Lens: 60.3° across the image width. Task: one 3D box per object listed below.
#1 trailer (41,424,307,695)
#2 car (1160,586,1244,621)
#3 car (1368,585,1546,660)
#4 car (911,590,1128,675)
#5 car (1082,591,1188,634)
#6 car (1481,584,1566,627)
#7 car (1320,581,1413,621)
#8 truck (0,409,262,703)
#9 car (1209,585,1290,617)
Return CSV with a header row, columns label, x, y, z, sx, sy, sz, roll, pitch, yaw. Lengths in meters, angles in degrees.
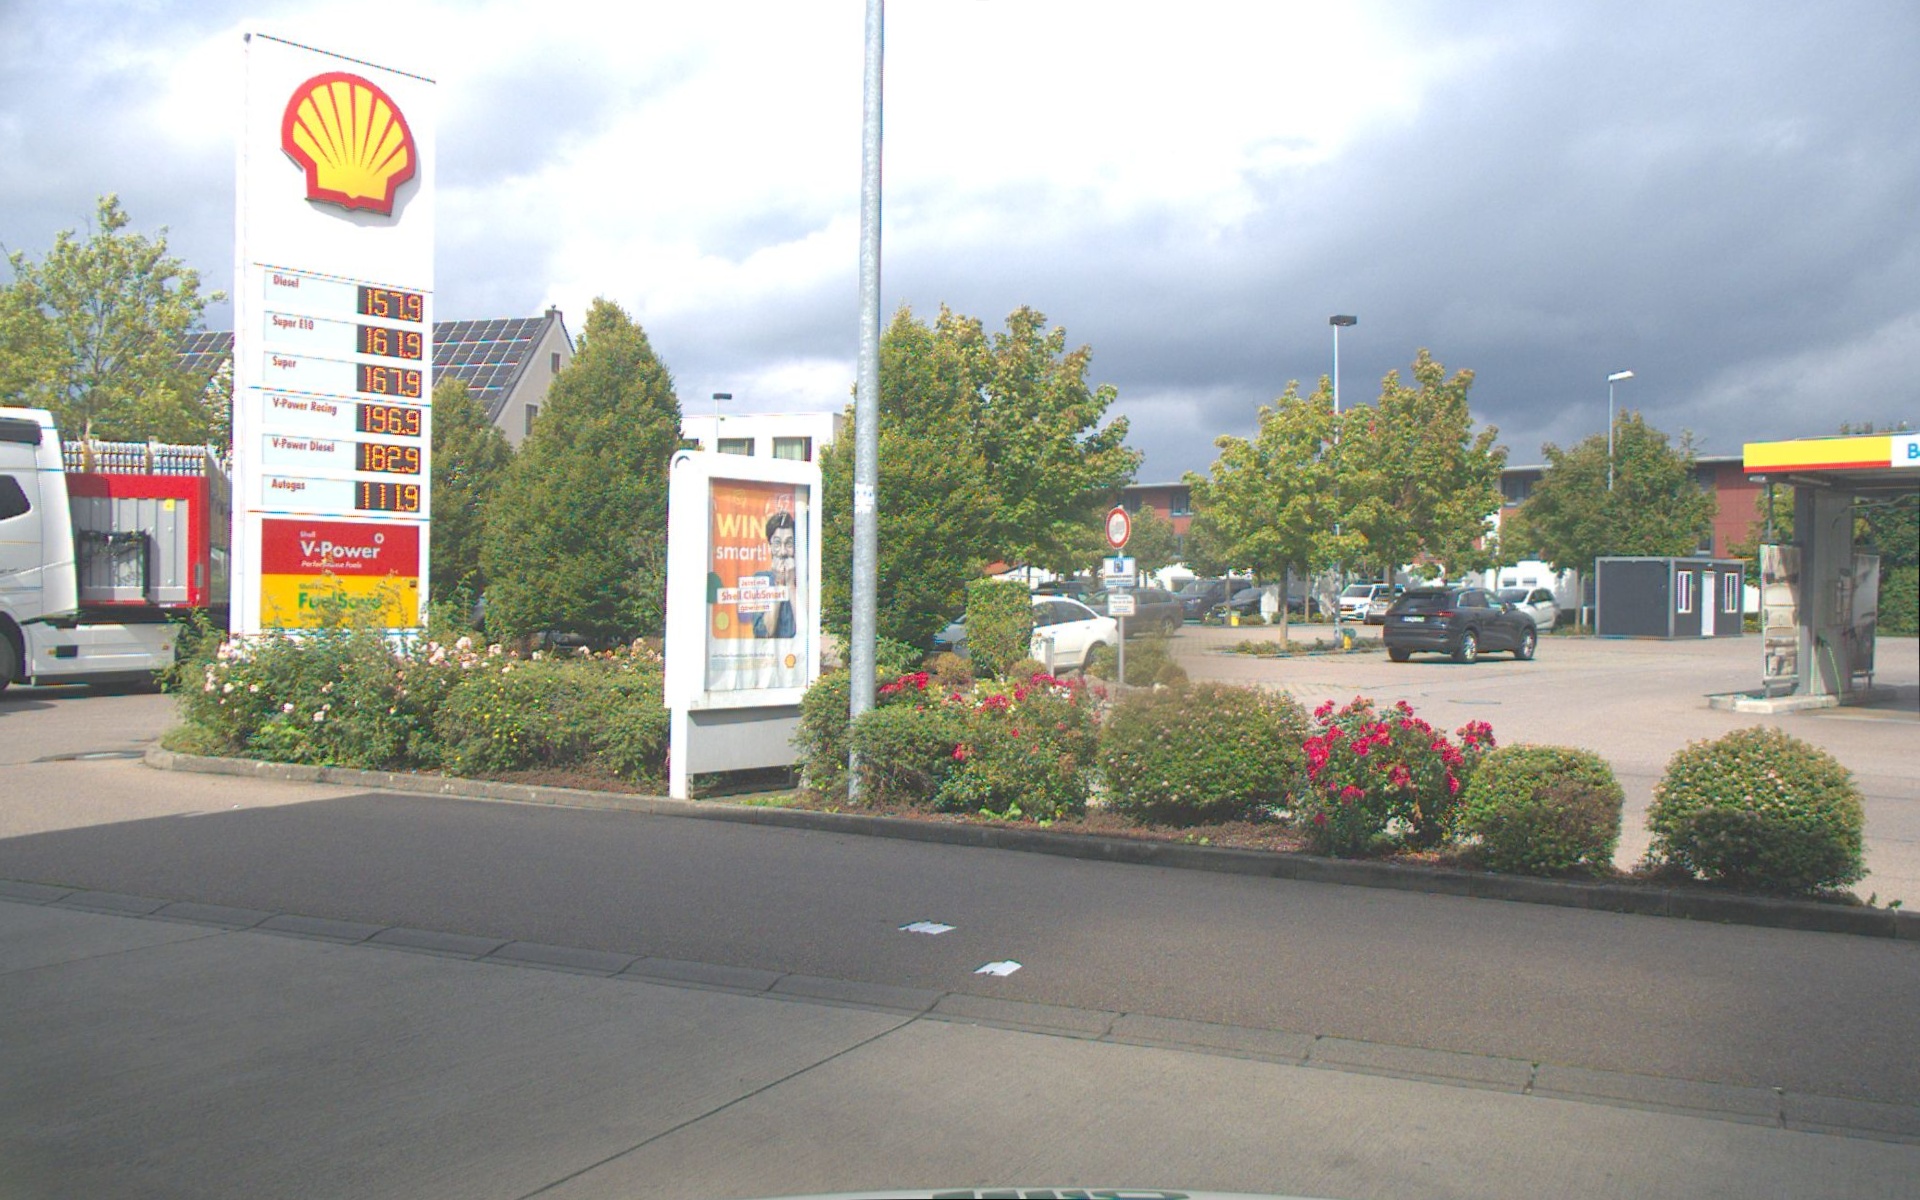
label,x,y,z,sx,sy,sz,roll,pitch,yaw
trailer,-13.698,-0.563,29.925,2.688,3.842,12.646,1,0,-18
car,9.822,0.155,66.945,3.364,1.343,1.719,1,0,-45
car,11.141,0.494,36.906,4.467,1.575,1.856,1,0,-44
car,1.144,0.584,29.949,1.348,1.428,4.312,1,-1,45
car,5.289,0.376,49.805,3.203,1.249,1.481,1,0,-45
car,18.018,0.179,52.819,3.080,1.330,1.346,1,-1,-45
car,19.926,0.047,80.959,4.839,1.865,2.150,1,0,-44
truck,-13.405,-0.586,23.842,2.677,3.913,5.916,1,0,23
car,11.423,0.051,65.223,3.393,1.199,1.462,1,0,-45
